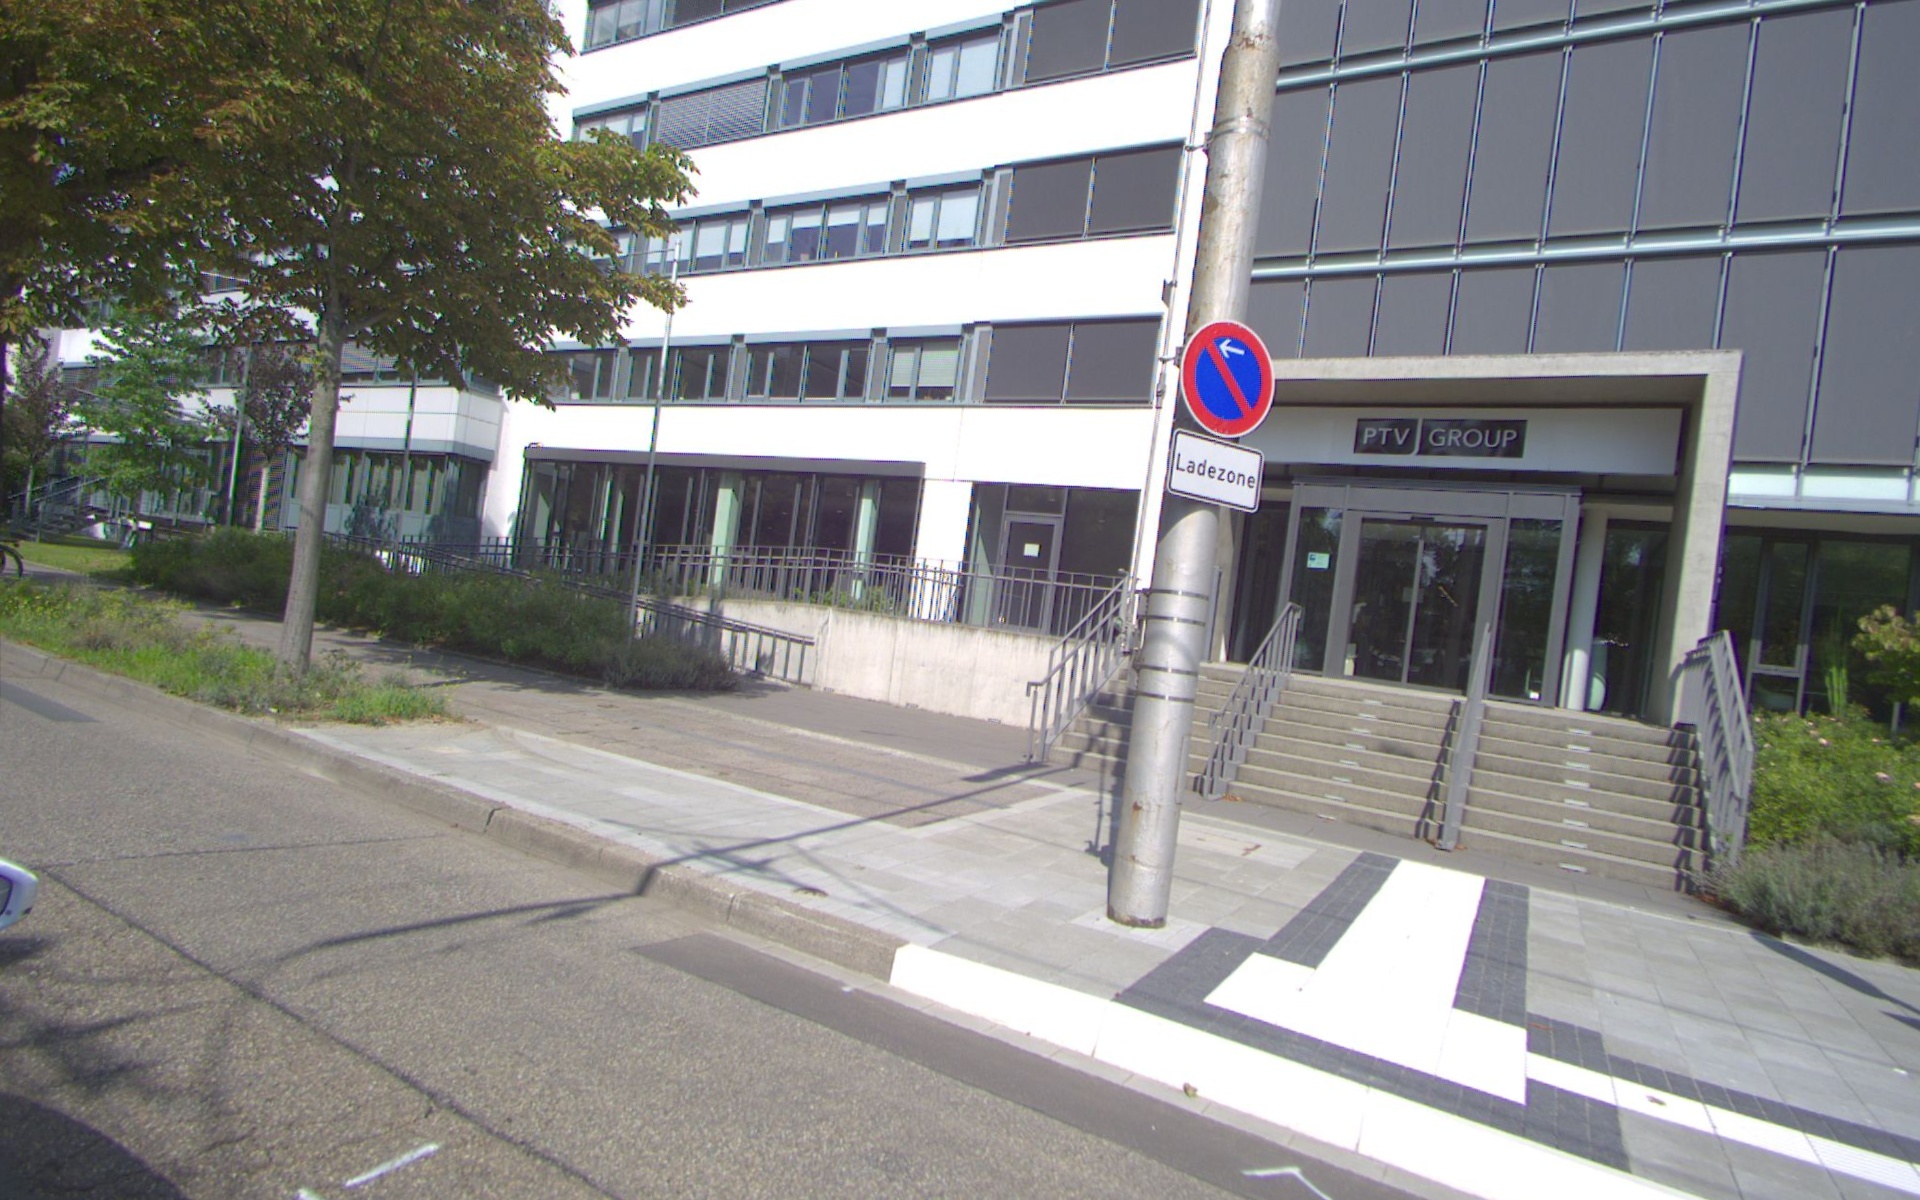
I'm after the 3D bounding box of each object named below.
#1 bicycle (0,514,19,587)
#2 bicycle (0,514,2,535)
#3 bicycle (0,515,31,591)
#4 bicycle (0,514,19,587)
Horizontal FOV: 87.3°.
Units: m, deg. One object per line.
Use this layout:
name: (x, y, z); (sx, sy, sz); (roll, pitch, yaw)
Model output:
bicycle: (-15.270, -0.839, 14.913); (0.531, 1.084, 1.774); (7, 0, 30)
bicycle: (-15.788, -0.901, 15.190); (0.531, 1.084, 1.774); (7, 0, 30)
bicycle: (-14.711, -0.775, 14.519); (0.531, 1.084, 1.774); (7, 0, 30)
bicycle: (-15.283, -0.840, 14.934); (0.531, 1.084, 1.774); (7, 0, 30)
